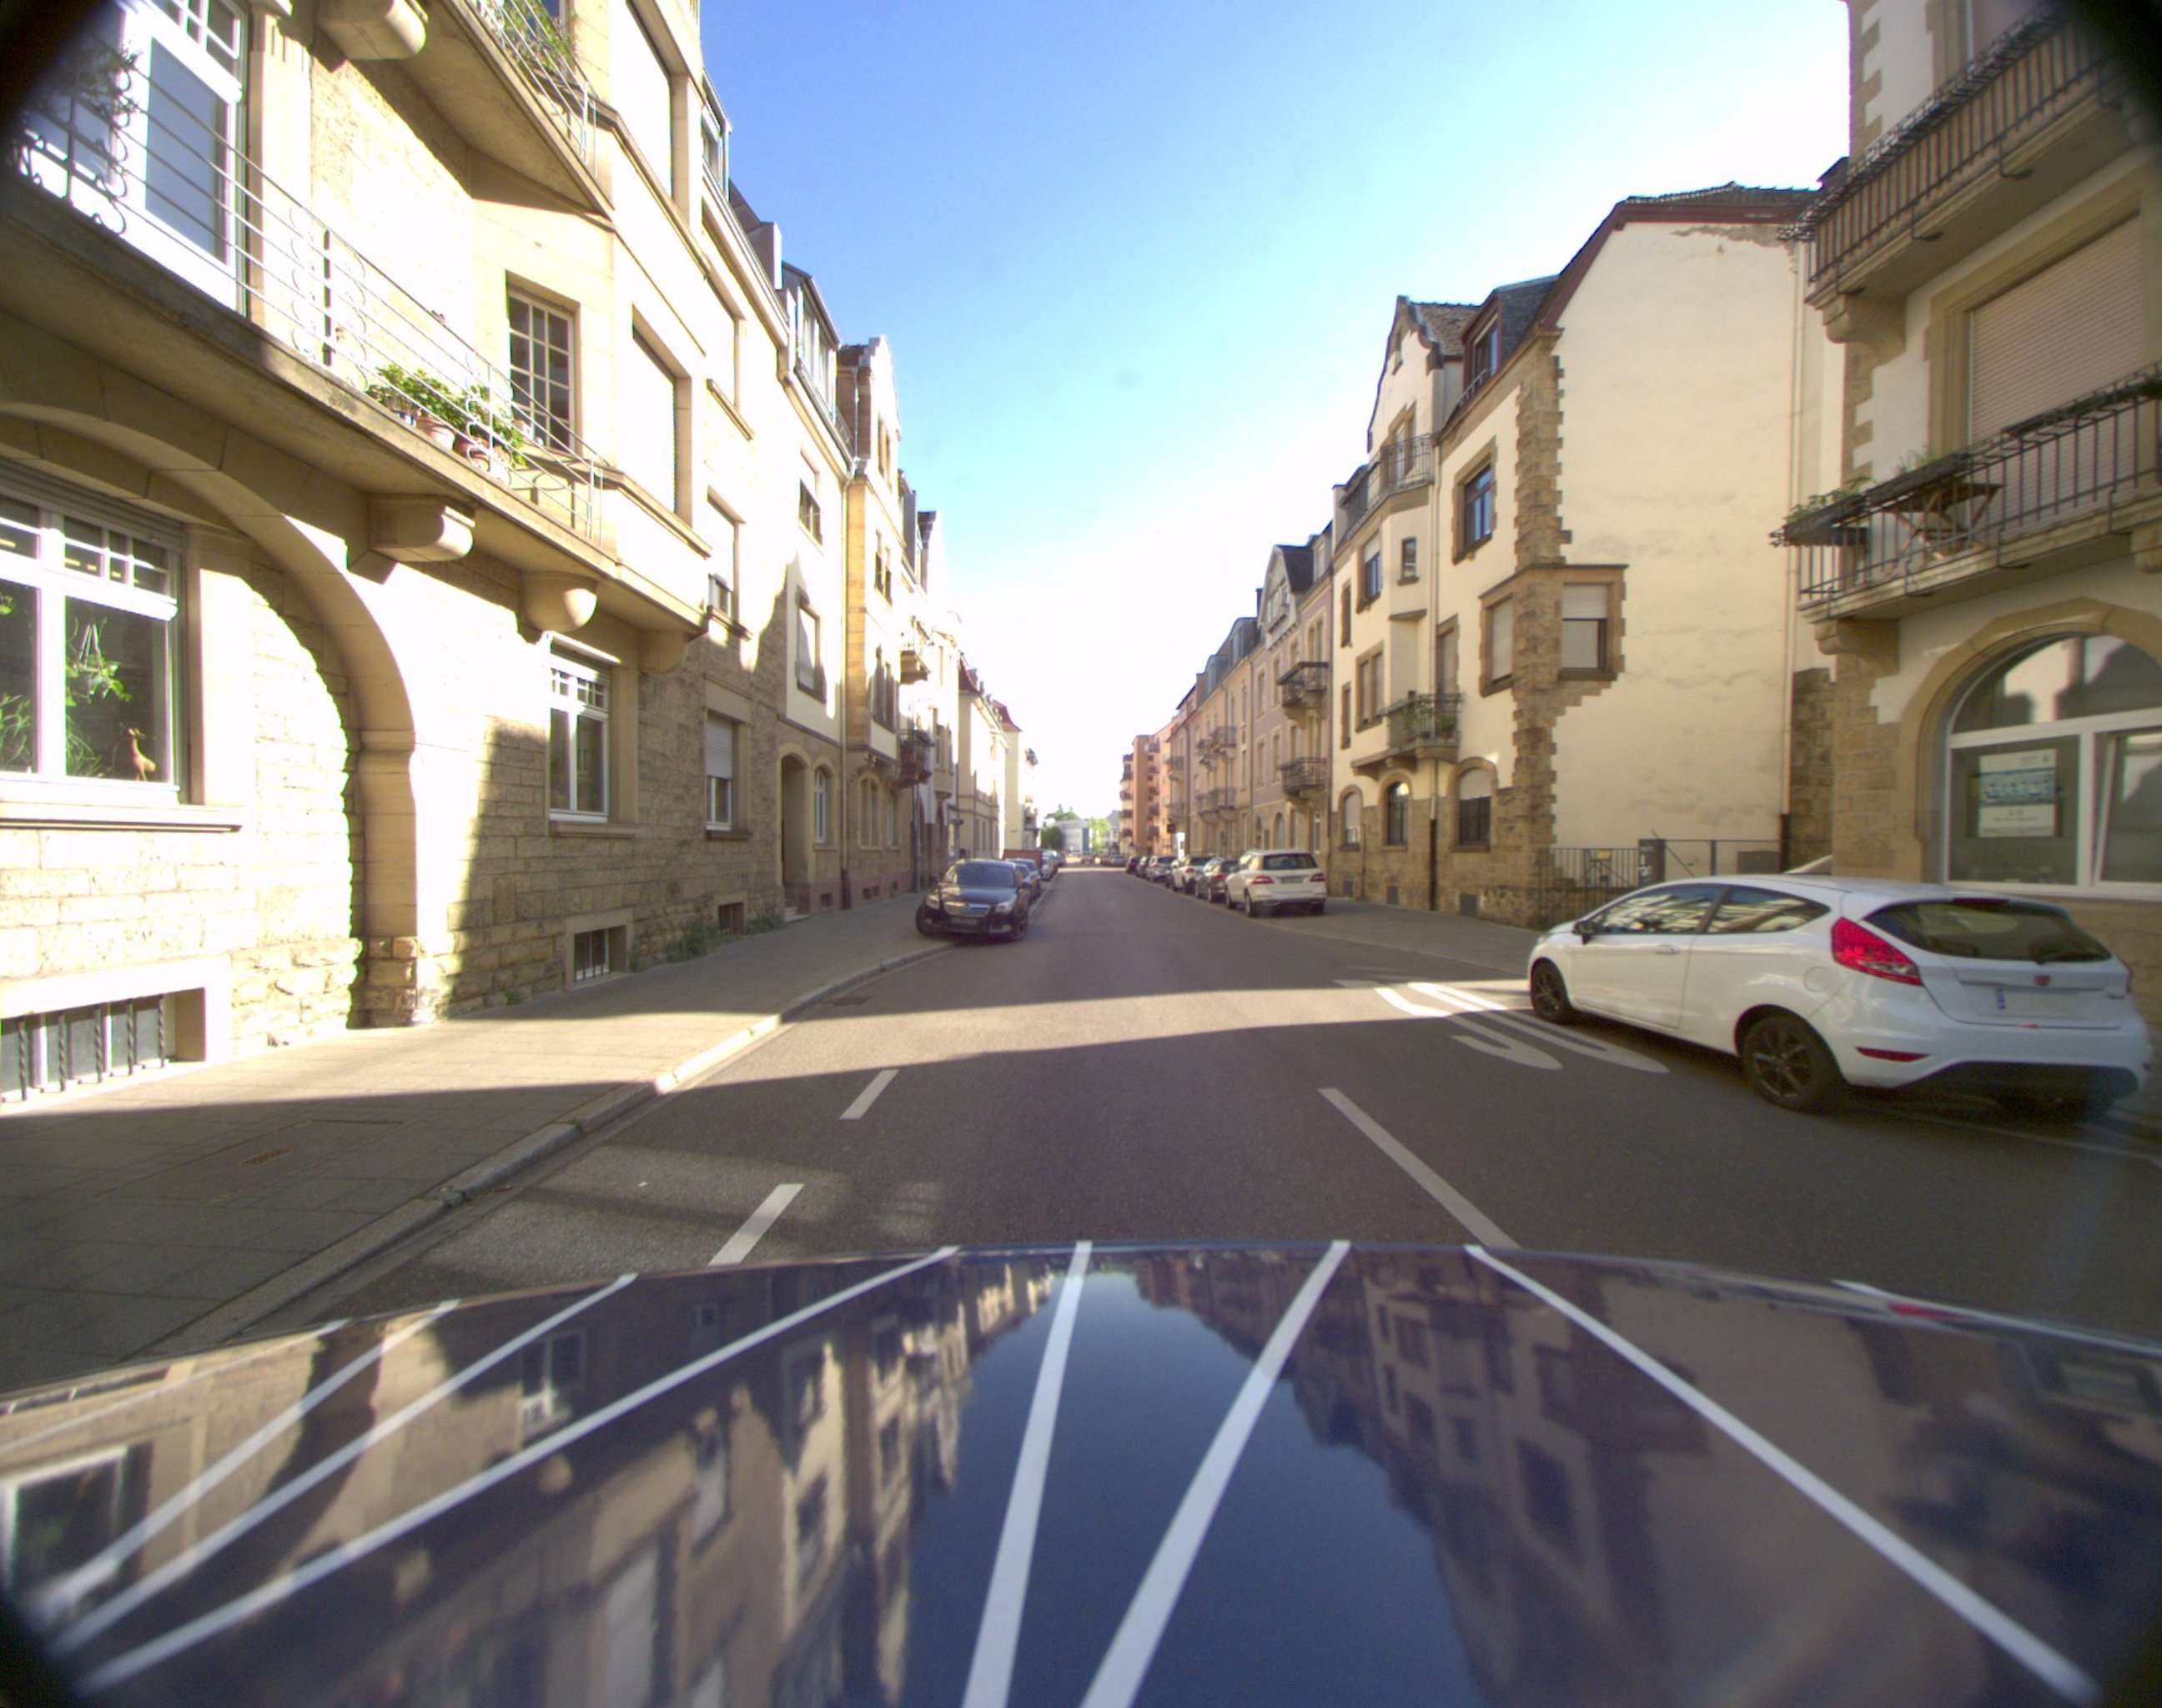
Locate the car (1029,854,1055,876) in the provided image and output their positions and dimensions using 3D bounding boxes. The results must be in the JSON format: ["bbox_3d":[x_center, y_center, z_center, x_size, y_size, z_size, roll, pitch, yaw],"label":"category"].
[{"bbox_3d":[-2.676,0.735,53.022,1.657,1.456,4.093,0,0,-1],"label":"car"}]

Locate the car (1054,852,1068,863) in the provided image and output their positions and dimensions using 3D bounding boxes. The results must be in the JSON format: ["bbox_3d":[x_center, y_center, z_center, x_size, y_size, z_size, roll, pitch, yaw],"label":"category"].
[{"bbox_3d":[-2.661,0.405,99.707,1.708,1.417,3.721,0,0,-2],"label":"car"}]

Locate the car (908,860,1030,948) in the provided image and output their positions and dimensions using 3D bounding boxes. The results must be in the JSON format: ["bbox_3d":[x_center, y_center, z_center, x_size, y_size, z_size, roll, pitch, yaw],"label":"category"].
[{"bbox_3d":[-2.072,0.891,15.293,1.870,1.453,4.338,0,0,-1],"label":"car"}]

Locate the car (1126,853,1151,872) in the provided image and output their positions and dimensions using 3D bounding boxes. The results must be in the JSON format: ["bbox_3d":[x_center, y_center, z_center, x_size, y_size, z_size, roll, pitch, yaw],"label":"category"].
[{"bbox_3d":[4.717,0.674,62.684,1.719,1.378,3.864,-3,0,0],"label":"car"}]

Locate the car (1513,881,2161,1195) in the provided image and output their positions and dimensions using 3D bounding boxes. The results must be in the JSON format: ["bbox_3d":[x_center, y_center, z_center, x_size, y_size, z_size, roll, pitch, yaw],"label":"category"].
[{"bbox_3d":[5.113,1.014,5.778,1.637,1.455,3.735,0,1,2],"label":"car"}]

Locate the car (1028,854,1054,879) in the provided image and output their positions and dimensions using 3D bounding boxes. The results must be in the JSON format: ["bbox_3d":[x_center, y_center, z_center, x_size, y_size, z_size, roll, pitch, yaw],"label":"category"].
[{"bbox_3d":[-2.477,0.744,47.636,1.590,1.456,3.711,0,0,-2],"label":"car"}]

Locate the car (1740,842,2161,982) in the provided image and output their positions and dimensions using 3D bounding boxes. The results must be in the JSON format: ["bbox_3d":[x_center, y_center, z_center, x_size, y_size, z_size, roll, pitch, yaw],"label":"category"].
[{"bbox_3d":[11.831,0.719,10.389,3.978,1.718,1.909,0,0,0],"label":"car"}]

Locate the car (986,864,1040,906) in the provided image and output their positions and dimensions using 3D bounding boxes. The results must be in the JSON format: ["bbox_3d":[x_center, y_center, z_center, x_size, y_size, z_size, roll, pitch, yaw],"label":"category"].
[{"bbox_3d":[-2.292,1.018,26.202,1.697,1.247,3.939,-1,0,-3],"label":"car"}]

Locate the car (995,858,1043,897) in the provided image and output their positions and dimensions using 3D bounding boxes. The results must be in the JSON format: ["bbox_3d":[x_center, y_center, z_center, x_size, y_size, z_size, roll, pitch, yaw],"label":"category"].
[{"bbox_3d":[-2.461,0.885,30.551,1.791,1.421,3.806,0,0,-4],"label":"car"}]

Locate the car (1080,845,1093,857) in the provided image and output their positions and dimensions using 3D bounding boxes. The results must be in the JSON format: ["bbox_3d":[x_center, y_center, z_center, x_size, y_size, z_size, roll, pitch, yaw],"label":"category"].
[{"bbox_3d":[0.971,-0.444,127.054,1.868,1.925,4.598,0,0,-3],"label":"car"}]

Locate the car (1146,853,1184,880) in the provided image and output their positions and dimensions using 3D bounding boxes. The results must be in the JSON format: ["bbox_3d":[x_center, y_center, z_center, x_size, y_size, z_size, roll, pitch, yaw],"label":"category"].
[{"bbox_3d":[4.995,0.697,45.705,1.719,1.529,3.722,-1,0,-2],"label":"car"}]

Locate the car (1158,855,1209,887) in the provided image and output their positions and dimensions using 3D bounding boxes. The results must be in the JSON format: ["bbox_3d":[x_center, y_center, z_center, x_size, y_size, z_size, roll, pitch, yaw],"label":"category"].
[{"bbox_3d":[5.014,0.803,37.573,1.677,1.385,3.664,-3,0,-5],"label":"car"}]

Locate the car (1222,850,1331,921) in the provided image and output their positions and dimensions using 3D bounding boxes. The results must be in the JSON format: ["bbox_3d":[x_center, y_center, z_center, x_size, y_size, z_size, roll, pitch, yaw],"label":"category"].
[{"bbox_3d":[5.209,0.754,20.910,1.896,1.712,4.726,-1,0,1],"label":"car"}]

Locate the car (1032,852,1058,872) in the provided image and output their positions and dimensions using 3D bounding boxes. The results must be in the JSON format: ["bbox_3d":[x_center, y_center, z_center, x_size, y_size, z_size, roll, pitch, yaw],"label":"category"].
[{"bbox_3d":[-2.769,0.600,59.091,1.684,1.537,3.914,1,0,1],"label":"car"}]

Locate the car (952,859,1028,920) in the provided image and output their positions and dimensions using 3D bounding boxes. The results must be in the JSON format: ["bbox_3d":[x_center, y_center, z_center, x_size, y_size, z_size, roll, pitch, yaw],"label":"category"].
[{"bbox_3d":[-2.384,0.882,20.854,1.655,1.434,4.257,1,0,-1],"label":"car"}]

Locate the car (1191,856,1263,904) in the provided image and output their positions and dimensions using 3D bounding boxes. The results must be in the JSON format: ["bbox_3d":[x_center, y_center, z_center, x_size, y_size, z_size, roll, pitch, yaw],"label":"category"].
[{"bbox_3d":[5.039,0.856,26.699,1.578,1.479,4.279,-2,0,-2],"label":"car"}]

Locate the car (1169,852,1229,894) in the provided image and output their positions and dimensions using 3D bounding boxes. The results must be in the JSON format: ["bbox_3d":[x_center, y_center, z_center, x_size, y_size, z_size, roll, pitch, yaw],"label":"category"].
[{"bbox_3d":[4.915,0.742,32.191,1.719,1.574,4.019,-3,0,-2],"label":"car"}]

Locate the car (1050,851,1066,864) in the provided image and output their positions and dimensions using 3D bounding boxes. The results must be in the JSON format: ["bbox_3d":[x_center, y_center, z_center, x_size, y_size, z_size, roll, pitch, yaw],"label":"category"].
[{"bbox_3d":[-2.622,0.380,87.893,1.708,1.417,3.721,1,1,-1],"label":"car"}]

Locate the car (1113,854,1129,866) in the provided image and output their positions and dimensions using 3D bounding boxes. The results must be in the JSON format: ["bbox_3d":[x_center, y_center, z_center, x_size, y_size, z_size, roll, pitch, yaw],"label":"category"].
[{"bbox_3d":[4.795,0.727,91.214,1.678,1.414,3.500,0,0,0],"label":"car"}]

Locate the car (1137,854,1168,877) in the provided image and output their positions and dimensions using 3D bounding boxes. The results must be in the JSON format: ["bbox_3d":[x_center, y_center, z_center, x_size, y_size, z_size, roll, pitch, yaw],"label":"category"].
[{"bbox_3d":[4.888,0.752,52.398,1.719,1.512,4.109,1,0,-1],"label":"car"}]

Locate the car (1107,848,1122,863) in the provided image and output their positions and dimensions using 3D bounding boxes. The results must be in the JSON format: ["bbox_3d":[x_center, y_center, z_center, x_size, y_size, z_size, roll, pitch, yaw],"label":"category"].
[{"bbox_3d":[4.488,0.204,102.092,1.822,1.867,4.111,0,0,-1],"label":"car"}]

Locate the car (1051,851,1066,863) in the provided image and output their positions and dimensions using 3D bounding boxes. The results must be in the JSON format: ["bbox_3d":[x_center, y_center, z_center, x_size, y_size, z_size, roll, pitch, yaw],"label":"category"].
[{"bbox_3d":[-2.766,0.334,93.357,1.708,1.417,3.721,1,1,-1],"label":"car"}]

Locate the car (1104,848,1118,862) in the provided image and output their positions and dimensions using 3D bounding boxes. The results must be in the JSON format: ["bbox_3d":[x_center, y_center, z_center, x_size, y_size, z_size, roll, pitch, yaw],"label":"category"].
[{"bbox_3d":[4.170,0.128,107.792,1.822,1.867,4.111,0,0,0],"label":"car"}]

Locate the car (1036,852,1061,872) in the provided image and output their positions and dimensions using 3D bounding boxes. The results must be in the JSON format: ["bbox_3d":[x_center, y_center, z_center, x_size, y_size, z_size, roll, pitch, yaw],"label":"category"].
[{"bbox_3d":[-2.651,0.636,63.525,1.791,1.655,4.434,0,0,1],"label":"car"}]

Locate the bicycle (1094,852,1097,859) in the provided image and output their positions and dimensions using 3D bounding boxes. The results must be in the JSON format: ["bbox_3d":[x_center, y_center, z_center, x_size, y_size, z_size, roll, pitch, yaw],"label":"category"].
[{"bbox_3d":[2.218,0.181,117.540,0.541,1.070,1.800,0,0,1],"label":"bicycle"}]

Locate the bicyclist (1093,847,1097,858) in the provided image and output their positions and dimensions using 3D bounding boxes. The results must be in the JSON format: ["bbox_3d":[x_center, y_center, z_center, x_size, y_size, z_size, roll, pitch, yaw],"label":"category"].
[{"bbox_3d":[2.228,-0.257,117.489,0.609,1.656,0.632,0,1,0],"label":"bicyclist"}]

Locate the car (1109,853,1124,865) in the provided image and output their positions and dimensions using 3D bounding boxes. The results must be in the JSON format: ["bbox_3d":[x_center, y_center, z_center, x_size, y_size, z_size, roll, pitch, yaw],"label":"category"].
[{"bbox_3d":[4.468,0.573,96.271,1.678,1.414,3.285,1,0,0],"label":"car"}]
